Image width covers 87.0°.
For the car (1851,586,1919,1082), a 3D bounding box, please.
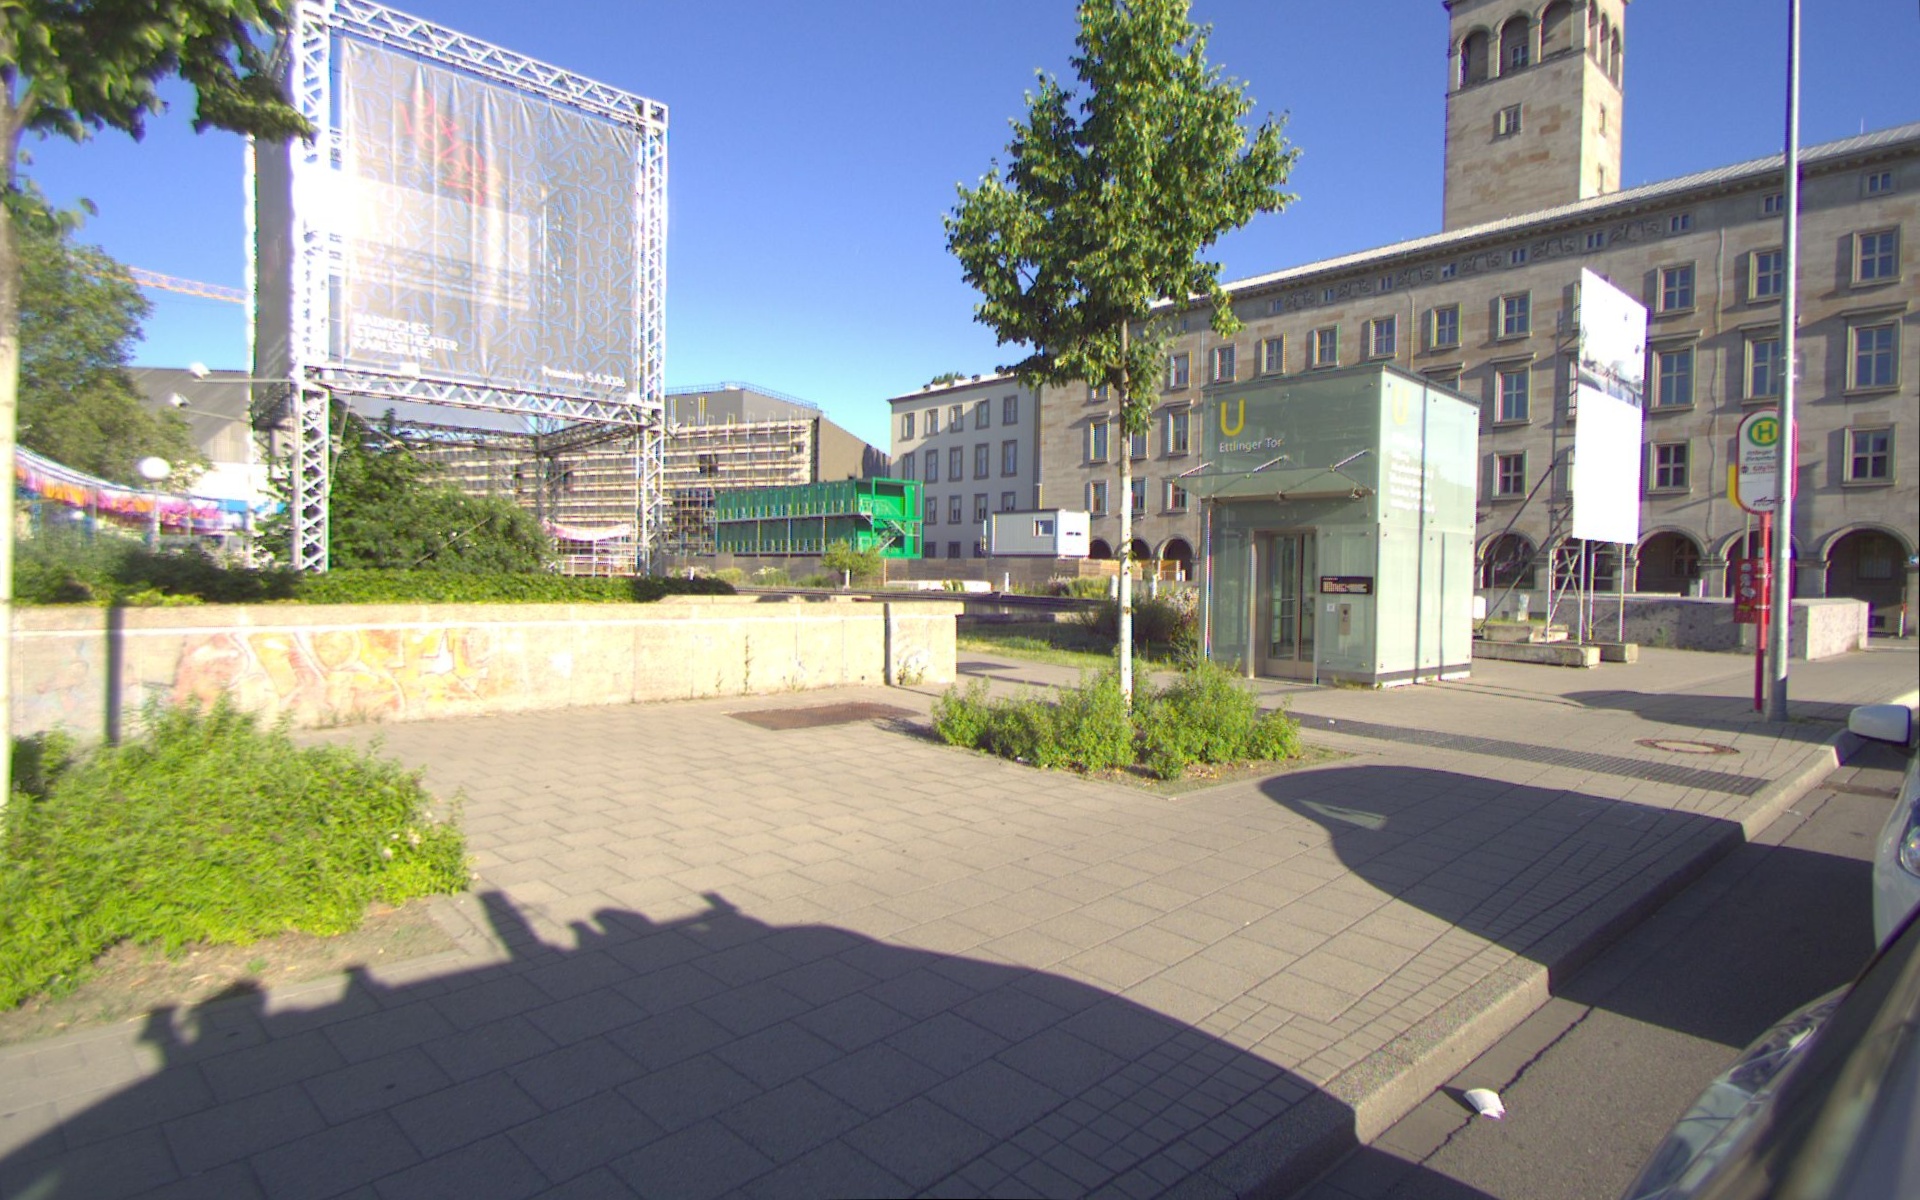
[{"bbox_3d":[4.794,0.693,3.799,3.899,1.490,1.658,0,0,-41],"label":"car"}]
